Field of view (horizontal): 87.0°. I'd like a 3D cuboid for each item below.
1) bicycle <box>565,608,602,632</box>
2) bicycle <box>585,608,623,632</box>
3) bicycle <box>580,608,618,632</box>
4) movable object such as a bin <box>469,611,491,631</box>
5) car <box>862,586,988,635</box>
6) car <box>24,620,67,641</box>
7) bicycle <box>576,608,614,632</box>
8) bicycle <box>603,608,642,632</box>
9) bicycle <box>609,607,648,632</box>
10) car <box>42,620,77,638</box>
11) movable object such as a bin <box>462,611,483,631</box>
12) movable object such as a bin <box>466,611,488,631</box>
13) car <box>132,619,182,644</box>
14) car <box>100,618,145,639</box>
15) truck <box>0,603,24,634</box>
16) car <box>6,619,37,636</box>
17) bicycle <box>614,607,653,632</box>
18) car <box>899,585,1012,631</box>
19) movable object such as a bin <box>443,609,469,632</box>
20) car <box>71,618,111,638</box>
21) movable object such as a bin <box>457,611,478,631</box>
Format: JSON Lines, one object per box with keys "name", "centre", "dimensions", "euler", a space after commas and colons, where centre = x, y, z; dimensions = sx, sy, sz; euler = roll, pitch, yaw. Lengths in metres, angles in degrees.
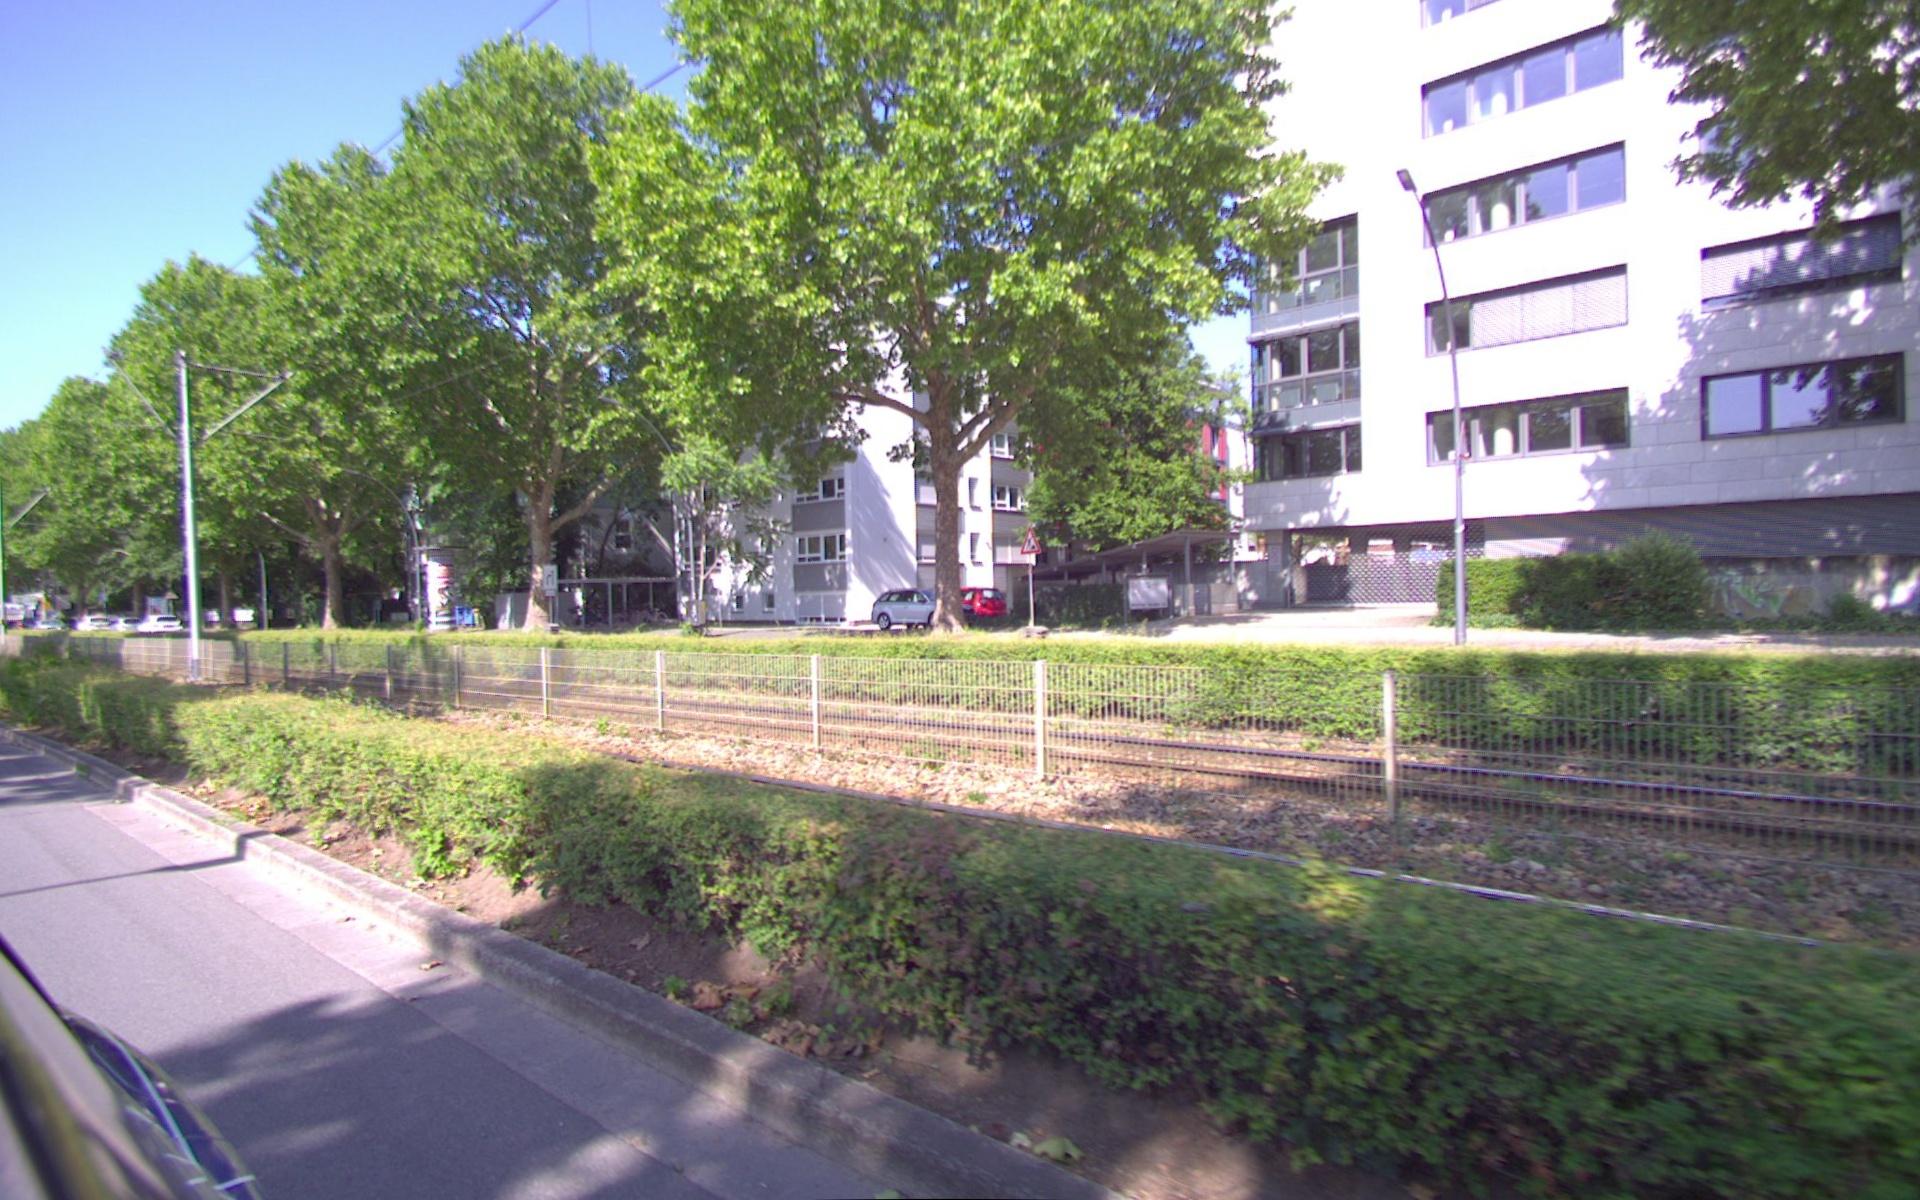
{"name": "bicycle", "centre": [-18.829, 1.015, 50.639], "dimensions": [0.421, 1.111, 1.748], "euler": [-2, 0, 40]}
{"name": "bicycle", "centre": [-17.347, 0.980, 49.317], "dimensions": [0.421, 1.111, 1.748], "euler": [-2, 0, 40]}
{"name": "bicycle", "centre": [-17.676, 0.988, 49.606], "dimensions": [0.421, 1.111, 1.748], "euler": [-2, 0, 40]}
{"name": "movable object such as a bin", "centre": [-25.845, 1.127, 54.532], "dimensions": [0.545, 1.044, 0.887], "euler": [-2, 0, 40]}
{"name": "car", "centre": [-1.269, 0.379, 35.453], "dimensions": [4.345, 1.561, 1.725], "euler": [-2, 1, 40]}
{"name": "car", "centre": [-68.417, 2.272, 75.673], "dimensions": [3.997, 1.464, 1.837], "euler": [-2, 1, 40]}
{"name": "bicycle", "centre": [-18.006, 0.995, 49.931], "dimensions": [0.421, 1.111, 1.748], "euler": [-2, 0, 40]}
{"name": "bicycle", "centre": [-16.157, 0.950, 48.489], "dimensions": [0.421, 1.111, 1.748], "euler": [-2, 0, 40]}
{"name": "bicycle", "centre": [-15.774, 0.941, 48.172], "dimensions": [0.421, 1.111, 1.748], "euler": [-2, 0, 40]}
{"name": "car", "centre": [-78.833, 2.514, 88.596], "dimensions": [3.889, 1.424, 1.680], "euler": [-2, 3, 40]}
{"name": "movable object such as a bin", "centre": [-26.645, 1.146, 55.320], "dimensions": [0.545, 1.044, 0.887], "euler": [-2, 0, 40]}
{"name": "movable object such as a bin", "centre": [-26.223, 1.136, 54.945], "dimensions": [0.545, 1.044, 0.887], "euler": [-2, 0, 40]}
{"name": "car", "centre": [-51.993, 2.038, 65.501], "dimensions": [3.910, 1.502, 1.796], "euler": [-2, -2, 40]}
{"name": "car", "centre": [-62.009, 2.093, 74.912], "dimensions": [3.997, 1.464, 1.833], "euler": [-2, 1, 40]}
{"name": "truck", "centre": [-107.187, 2.129, 113.331], "dimensions": [6.536, 3.303, 2.717], "euler": [-2, 0, 40]}
{"name": "car", "centre": [-89.359, 2.637, 96.333], "dimensions": [3.889, 1.424, 1.680], "euler": [-2, 3, 40]}
{"name": "bicycle", "centre": [-15.424, 0.933, 47.869], "dimensions": [0.421, 1.111, 1.748], "euler": [-2, 0, 40]}
{"name": "car", "centre": [-0.196, 0.313, 37.532], "dimensions": [3.997, 1.561, 1.725], "euler": [-2, 1, 40]}
{"name": "movable object such as a bin", "centre": [-28.196, 1.144, 56.633], "dimensions": [1.098, 1.198, 0.887], "euler": [-2, 0, 40]}
{"name": "car", "centre": [-70.227, 2.281, 81.746], "dimensions": [3.997, 1.464, 1.837], "euler": [-2, 1, 40]}
{"name": "movable object such as a bin", "centre": [-27.111, 1.157, 55.707], "dimensions": [0.545, 1.044, 0.887], "euler": [-2, 0, 40]}
